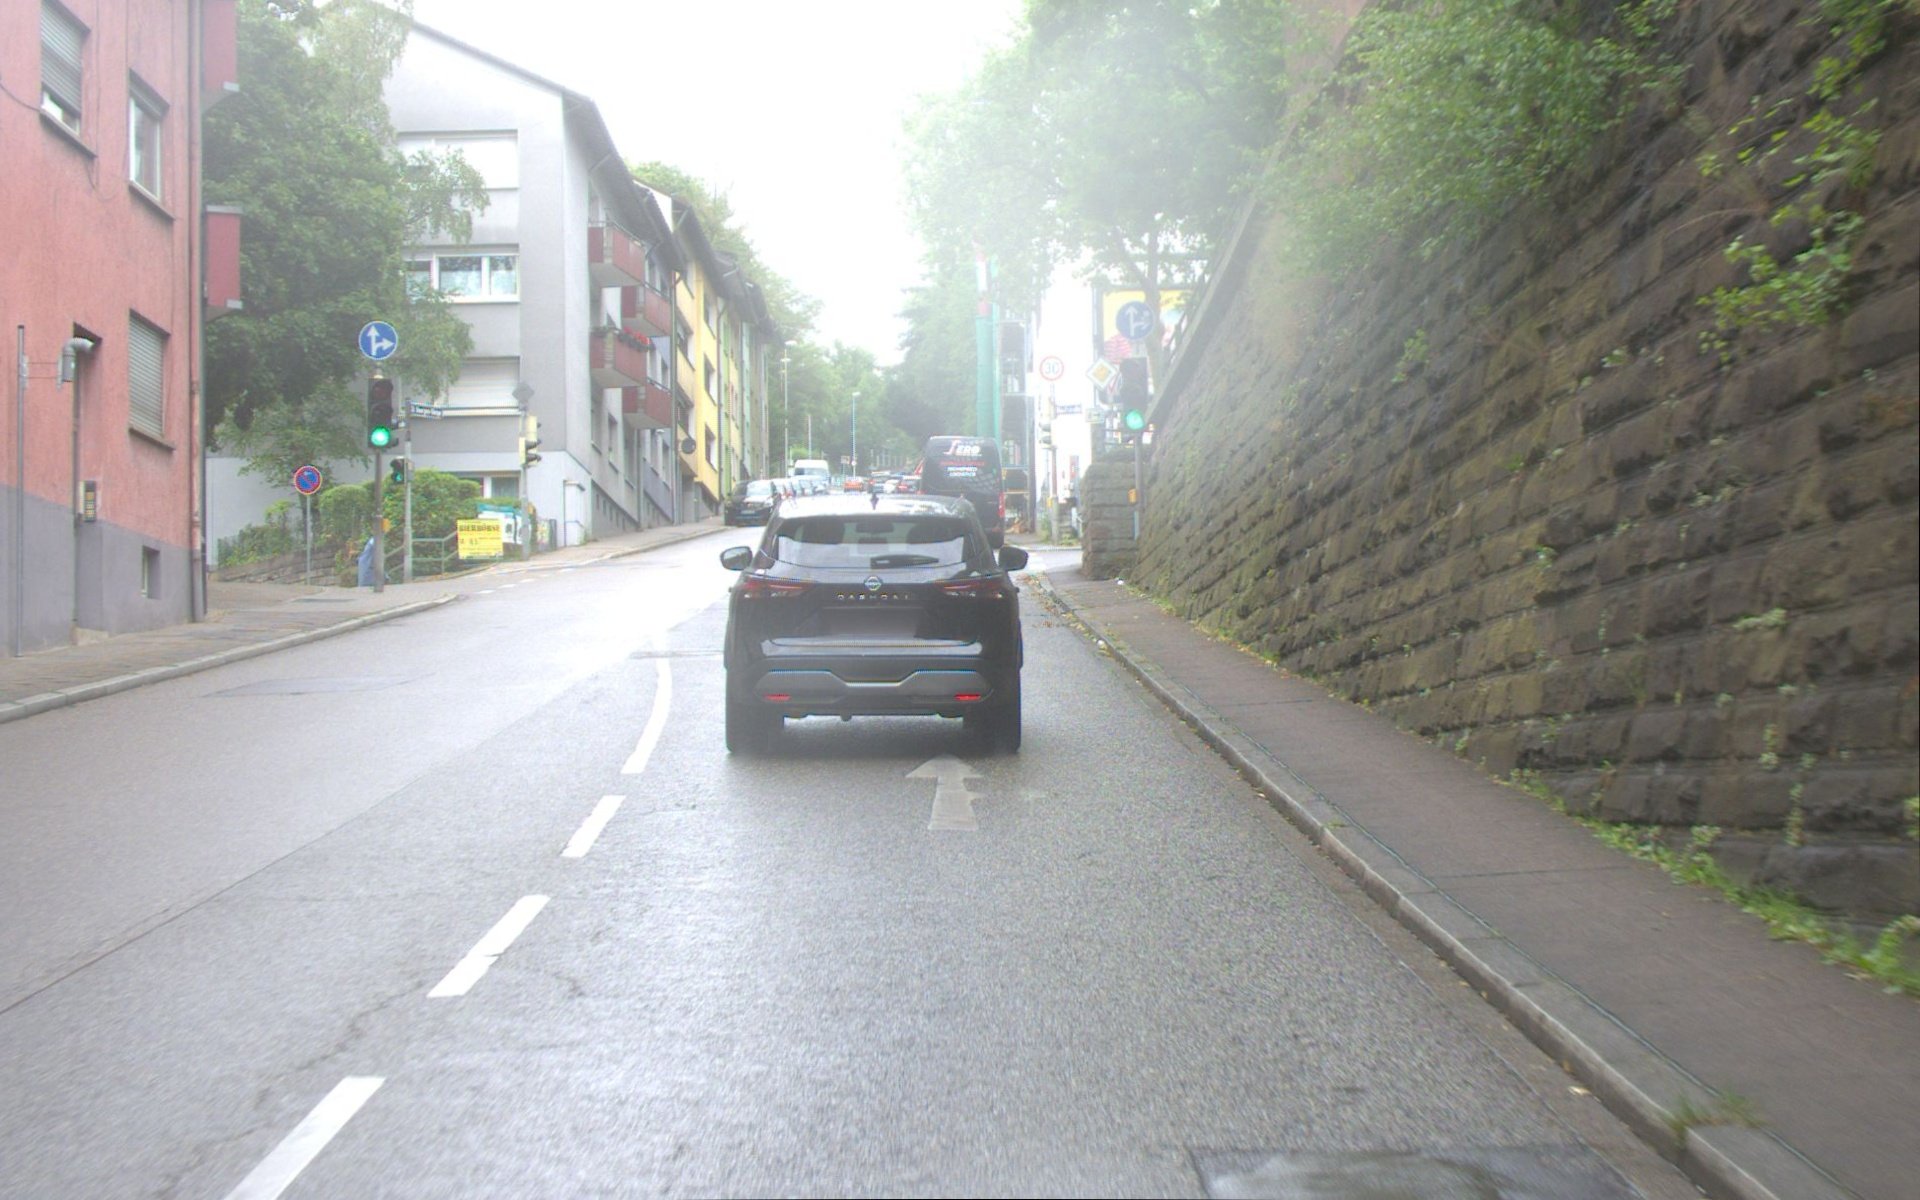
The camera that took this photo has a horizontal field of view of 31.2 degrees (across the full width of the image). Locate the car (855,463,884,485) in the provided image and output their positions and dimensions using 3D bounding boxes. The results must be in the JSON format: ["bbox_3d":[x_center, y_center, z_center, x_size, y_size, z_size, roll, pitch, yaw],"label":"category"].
[{"bbox_3d":[-6.527,-9.063,247.250,2.074,1.554,4.001,0,2,-2],"label":"car"}]

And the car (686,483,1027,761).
[{"bbox_3d":[-0.634,0.062,22.286,1.993,1.554,4.001,1,3,-1],"label":"car"}]

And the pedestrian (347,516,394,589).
[{"bbox_3d":[-12.549,-0.999,73.199,0.869,1.536,1.087,1,0,-4],"label":"pedestrian"}]

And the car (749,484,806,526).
[{"bbox_3d":[-7.636,-4.006,144.296,1.993,1.644,4.442,-1,3,2],"label":"car"}]

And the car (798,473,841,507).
[{"bbox_3d":[-6.855,-5.374,167.881,1.990,1.579,4.306,-1,3,-2],"label":"car"}]

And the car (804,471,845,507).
[{"bbox_3d":[-6.899,-5.669,175.088,1.990,1.749,4.481,-1,3,-2],"label":"car"}]

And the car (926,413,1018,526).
[{"bbox_3d":[0.312,-3.001,80.488,1.993,2.405,5.836,1,0,1],"label":"car"}]

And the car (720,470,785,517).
[{"bbox_3d":[-7.681,-3.970,127.886,1.993,1.644,4.442,-1,3,2],"label":"car"}]

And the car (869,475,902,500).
[{"bbox_3d":[-4.766,-7.139,218.449,2.074,1.554,4.001,0,2,-2],"label":"car"}]

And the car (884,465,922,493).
[{"bbox_3d":[-3.163,-6.709,190.292,2.074,1.554,4.001,0,2,-2],"label":"car"}]

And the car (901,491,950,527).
[{"bbox_3d":[-1.537,-4.077,153.353,2.074,1.554,4.001,0,2,-2],"label":"car"}]
